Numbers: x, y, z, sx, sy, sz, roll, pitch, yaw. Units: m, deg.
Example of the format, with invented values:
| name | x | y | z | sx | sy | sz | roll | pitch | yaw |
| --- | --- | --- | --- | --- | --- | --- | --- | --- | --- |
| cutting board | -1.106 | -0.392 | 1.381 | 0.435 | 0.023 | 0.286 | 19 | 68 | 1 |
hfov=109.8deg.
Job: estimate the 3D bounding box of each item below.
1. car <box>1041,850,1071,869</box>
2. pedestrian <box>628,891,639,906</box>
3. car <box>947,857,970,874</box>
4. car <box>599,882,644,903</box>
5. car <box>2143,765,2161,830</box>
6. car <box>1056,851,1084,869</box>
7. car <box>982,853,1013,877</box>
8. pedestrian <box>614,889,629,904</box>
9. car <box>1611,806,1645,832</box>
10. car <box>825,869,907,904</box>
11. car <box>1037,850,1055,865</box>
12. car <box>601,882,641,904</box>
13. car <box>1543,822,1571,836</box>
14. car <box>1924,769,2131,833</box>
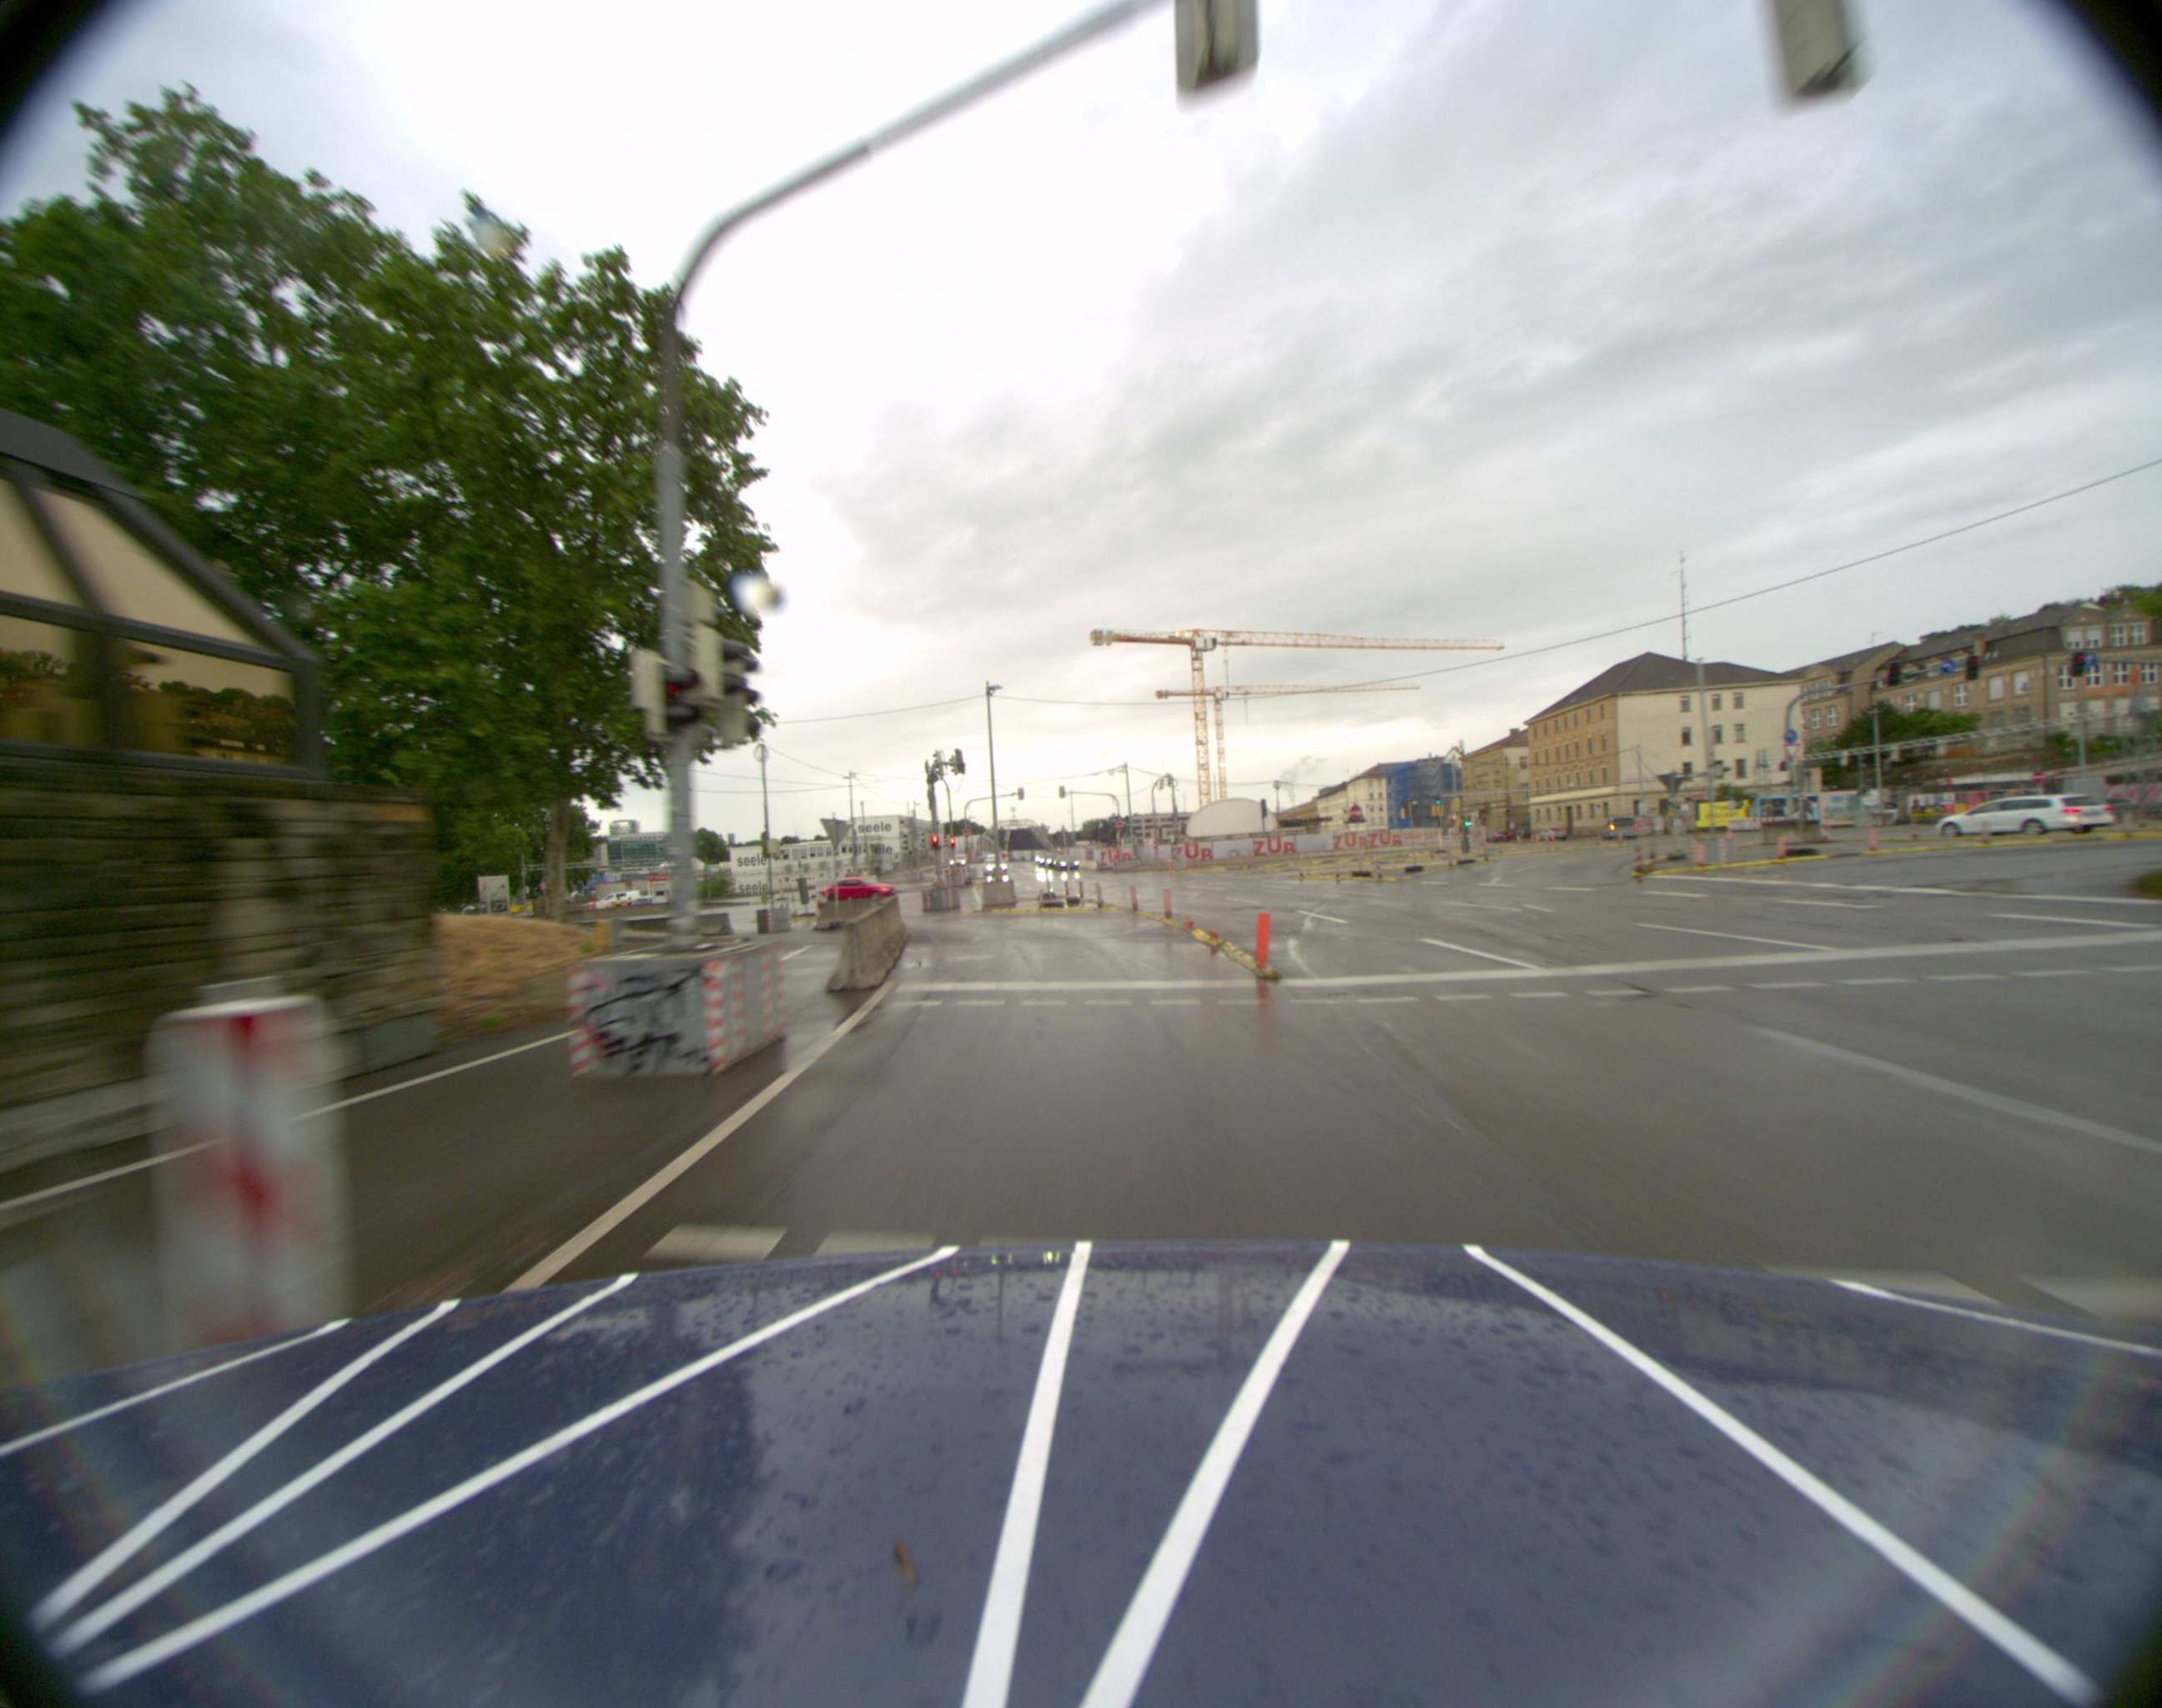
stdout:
| name | x | y | z | sx | sy | sz | roll | pitch | yaw |
| --- | --- | --- | --- | --- | --- | --- | --- | --- | --- |
| car | -2.607 | 0.609 | 78.151 | 2.001 | 1.707 | 4.417 | -5 | 1 | -16 |
| pedestrian | -44.935 | 4.447 | 76.263 | 0.746 | 1.345 | 0.836 | -6 | 1 | -28 |
| car | -14.401 | 1.335 | 89.837 | 1.999 | 1.761 | 4.356 | -5 | 1 | -2 |
| car | -62.179 | 5.152 | 102.849 | 4.955 | 2.370 | 1.996 | -5 | 1 | -28 |
| car | 34.542 | -1.776 | 21.673 | 1.998 | 2.002 | 4.690 | -5 | 2 | 4 |
| car | -1.072 | 0.557 | 72.615 | 1.861 | 1.557 | 3.798 | -6 | 1 | -12 |
| car | -7.878 | 1.025 | 71.349 | 2.001 | 2.002 | 4.417 | -5 | 1 | -16 |
| pedestrian | -45.451 | 4.163 | 75.129 | 0.836 | 1.345 | 0.745 | -5 | 1 | 14 |
| car | 44.657 | -2.861 | 61.981 | 1.995 | 1.828 | 4.691 | -3 | 2 | 38 |
| car | -12.233 | 1.817 | 43.336 | 3.996 | 1.543 | 1.691 | -5 | 1 | 4 |
| car | -4.266 | 0.433 | 92.258 | 1.999 | 1.548 | 4.522 | -5 | 0 | -5 |
| car | -60.832 | 5.144 | 100.514 | 4.002 | 2.370 | 1.997 | -5 | 1 | -19 |
| car | 54.639 | -2.839 | 87.308 | 1.580 | 1.340 | 3.808 | -5 | 3 | 15 |
| car | 34.938 | -1.892 | 28.294 | 1.998 | 2.002 | 4.641 | -5 | 2 | 4 |
